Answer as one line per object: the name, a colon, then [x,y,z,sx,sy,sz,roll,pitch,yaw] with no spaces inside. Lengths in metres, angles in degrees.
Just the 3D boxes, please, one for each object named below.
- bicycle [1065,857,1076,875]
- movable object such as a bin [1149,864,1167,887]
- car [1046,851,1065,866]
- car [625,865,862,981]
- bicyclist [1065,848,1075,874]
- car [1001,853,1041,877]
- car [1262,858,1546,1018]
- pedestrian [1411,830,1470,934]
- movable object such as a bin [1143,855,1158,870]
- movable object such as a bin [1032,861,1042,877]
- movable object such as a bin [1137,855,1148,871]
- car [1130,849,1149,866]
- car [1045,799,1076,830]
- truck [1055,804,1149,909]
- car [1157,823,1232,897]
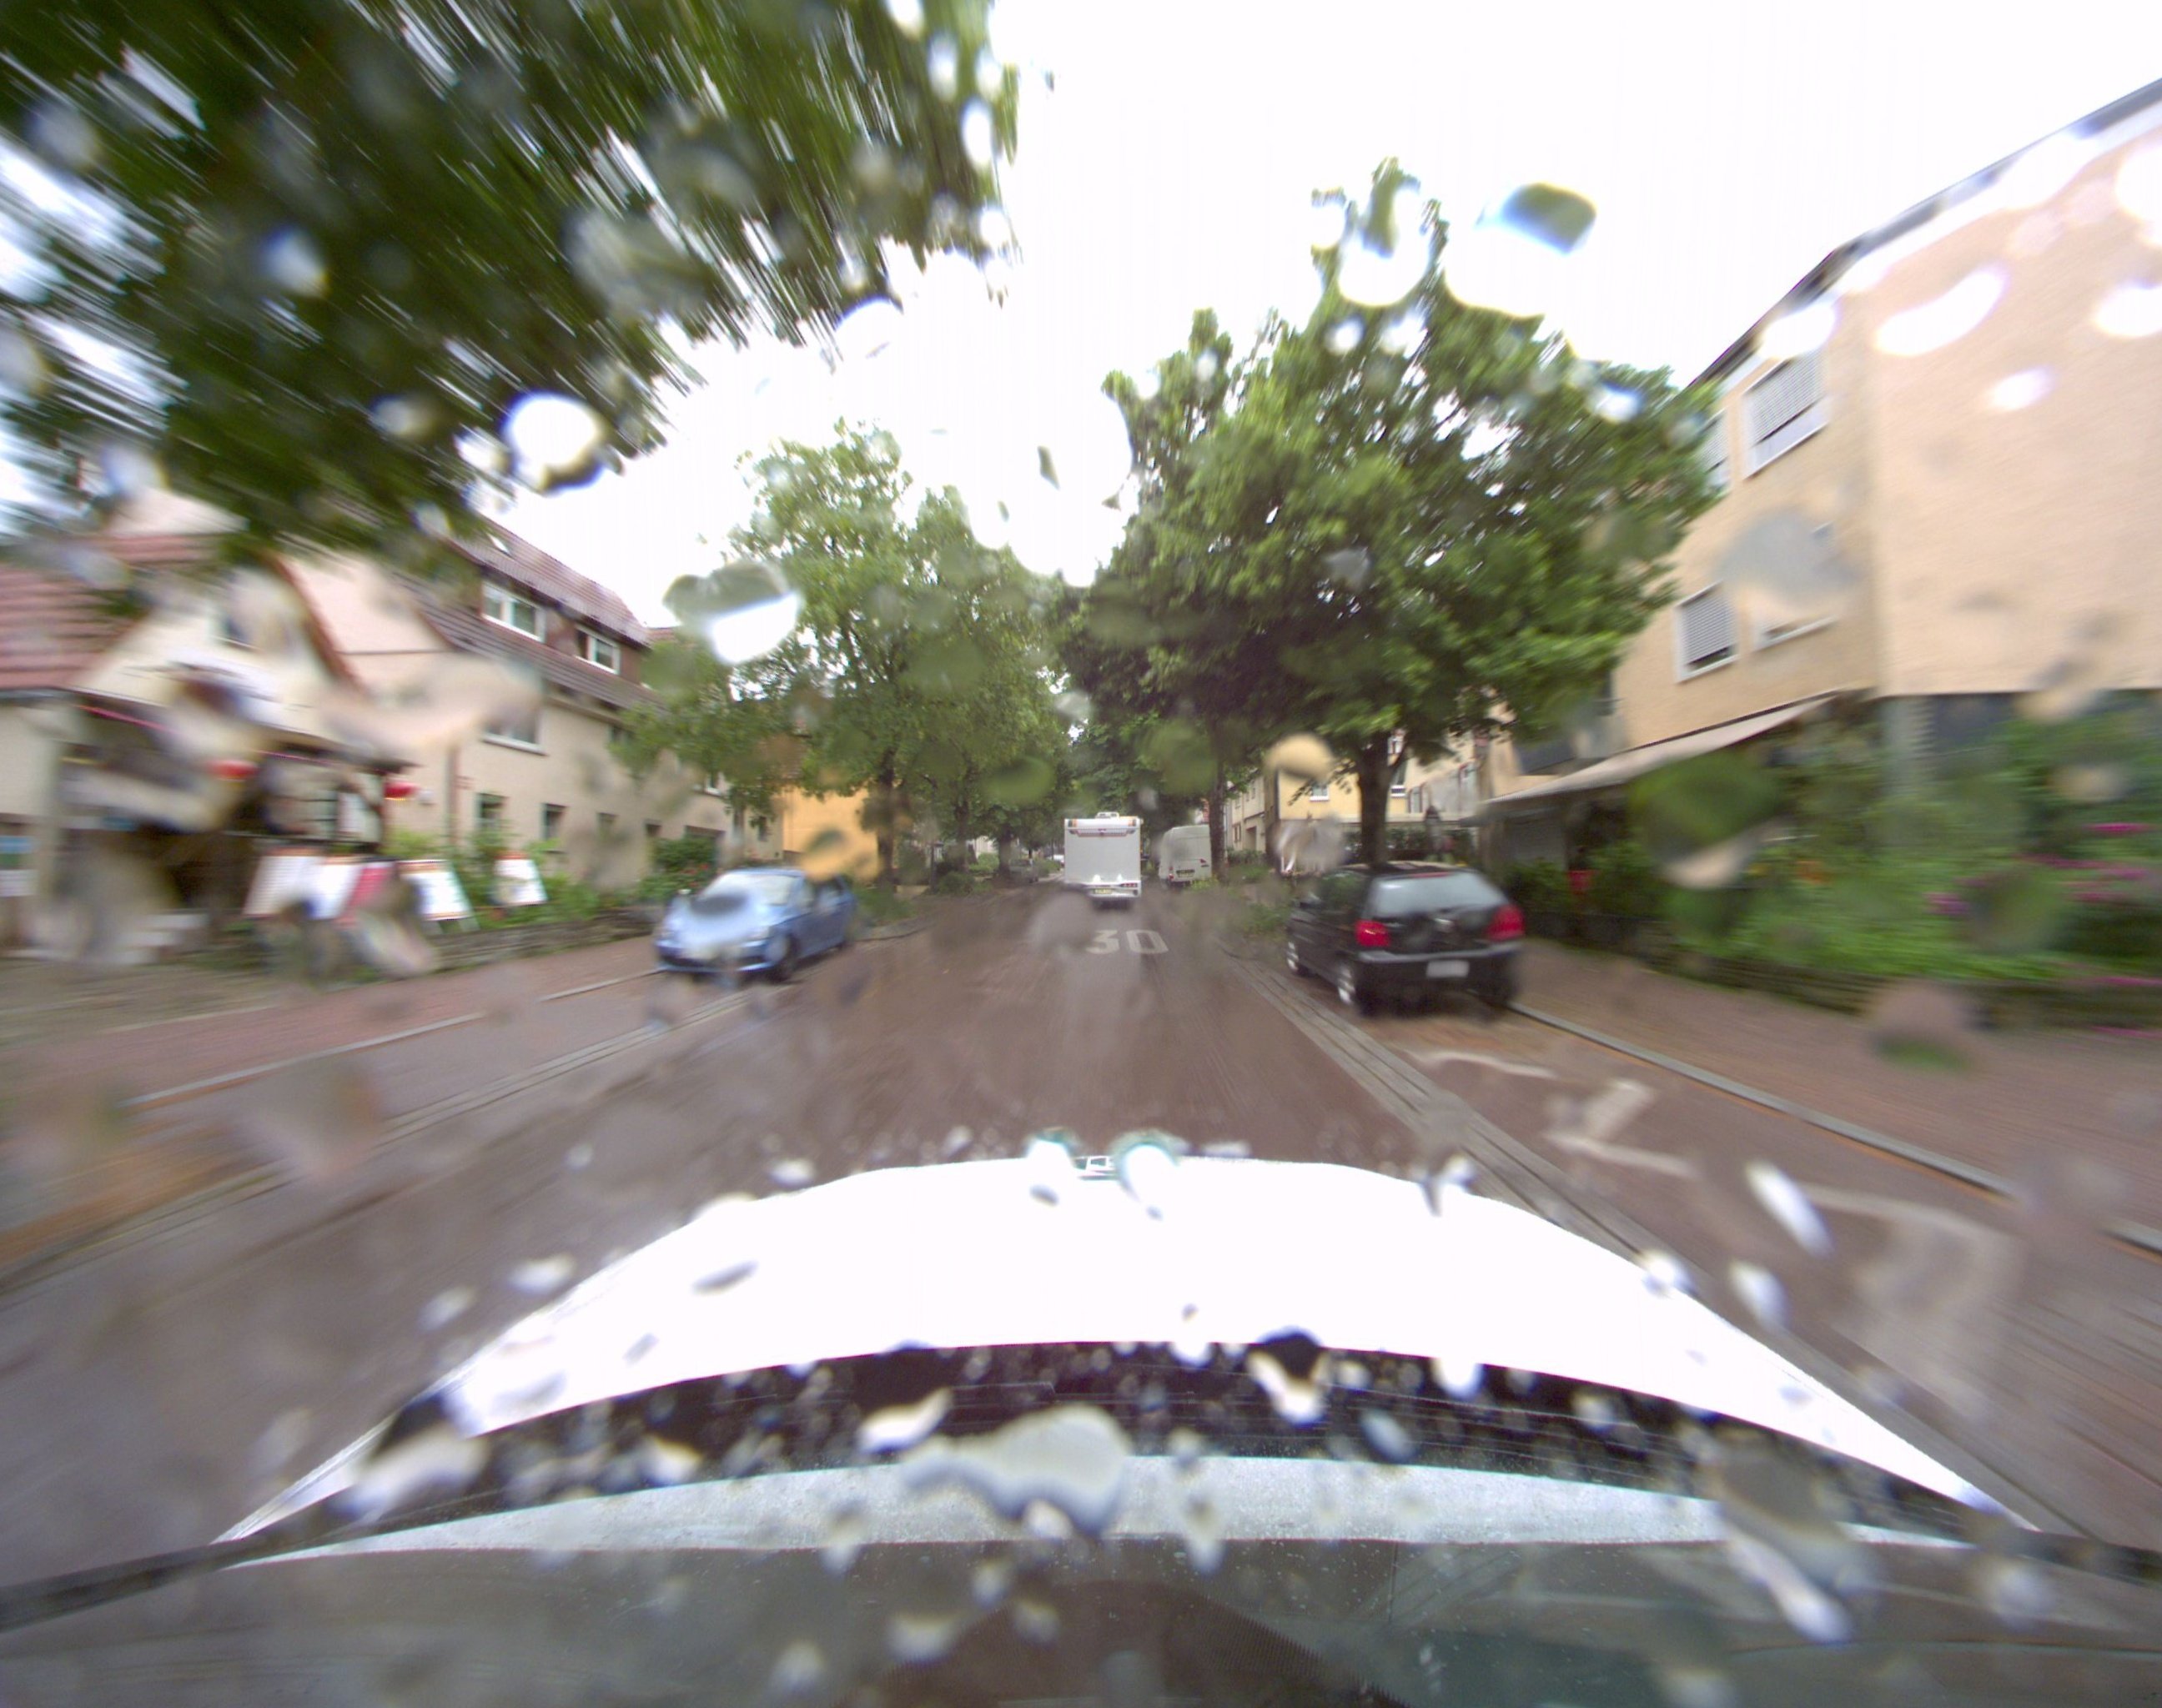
bicycle: [-0.716,0.825,55.244,0.625,1.209,1.982,0,0,2]
movable object such as a bin: [3.578,0.992,38.034,0.794,1.075,0.879,0,0,1]
car: [-2.704,0.433,87.141,1.640,1.533,3.870,0,0,4]
car: [-4.662,0.875,11.913,1.742,1.396,3.798,0,0,3]
bicyclist: [-0.733,0.462,54.972,0.625,1.731,0.880,0,-1,1]
car: [-3.549,0.632,48.903,1.765,1.389,4.549,1,0,3]
car: [3.326,0.764,9.213,1.802,1.411,3.785,0,0,2]
pedestrian: [6.139,0.459,13.921,0.766,1.731,0.491,-1,0,-10]
movable object such as a bin: [6.234,0.732,73.086,1.219,1.315,1.135,-1,-1,4]
movable object such as a bin: [-3.067,1.041,56.538,0.592,1.062,0.546,2,0,5]
movable object such as a bin: [4.274,0.640,56.467,0.686,1.082,0.540,0,-1,-2]
car: [6.183,0.342,86.510,1.907,1.792,4.490,0,0,2]
car: [-1.432,-2.804,58.687,1.986,2.014,4.002,0,0,2]
truck: [0.718,0.089,26.420,2.684,2.986,6.239,0,0,2]
car: [4.006,0.208,29.652,2.133,2.460,5.437,0,0,2]
